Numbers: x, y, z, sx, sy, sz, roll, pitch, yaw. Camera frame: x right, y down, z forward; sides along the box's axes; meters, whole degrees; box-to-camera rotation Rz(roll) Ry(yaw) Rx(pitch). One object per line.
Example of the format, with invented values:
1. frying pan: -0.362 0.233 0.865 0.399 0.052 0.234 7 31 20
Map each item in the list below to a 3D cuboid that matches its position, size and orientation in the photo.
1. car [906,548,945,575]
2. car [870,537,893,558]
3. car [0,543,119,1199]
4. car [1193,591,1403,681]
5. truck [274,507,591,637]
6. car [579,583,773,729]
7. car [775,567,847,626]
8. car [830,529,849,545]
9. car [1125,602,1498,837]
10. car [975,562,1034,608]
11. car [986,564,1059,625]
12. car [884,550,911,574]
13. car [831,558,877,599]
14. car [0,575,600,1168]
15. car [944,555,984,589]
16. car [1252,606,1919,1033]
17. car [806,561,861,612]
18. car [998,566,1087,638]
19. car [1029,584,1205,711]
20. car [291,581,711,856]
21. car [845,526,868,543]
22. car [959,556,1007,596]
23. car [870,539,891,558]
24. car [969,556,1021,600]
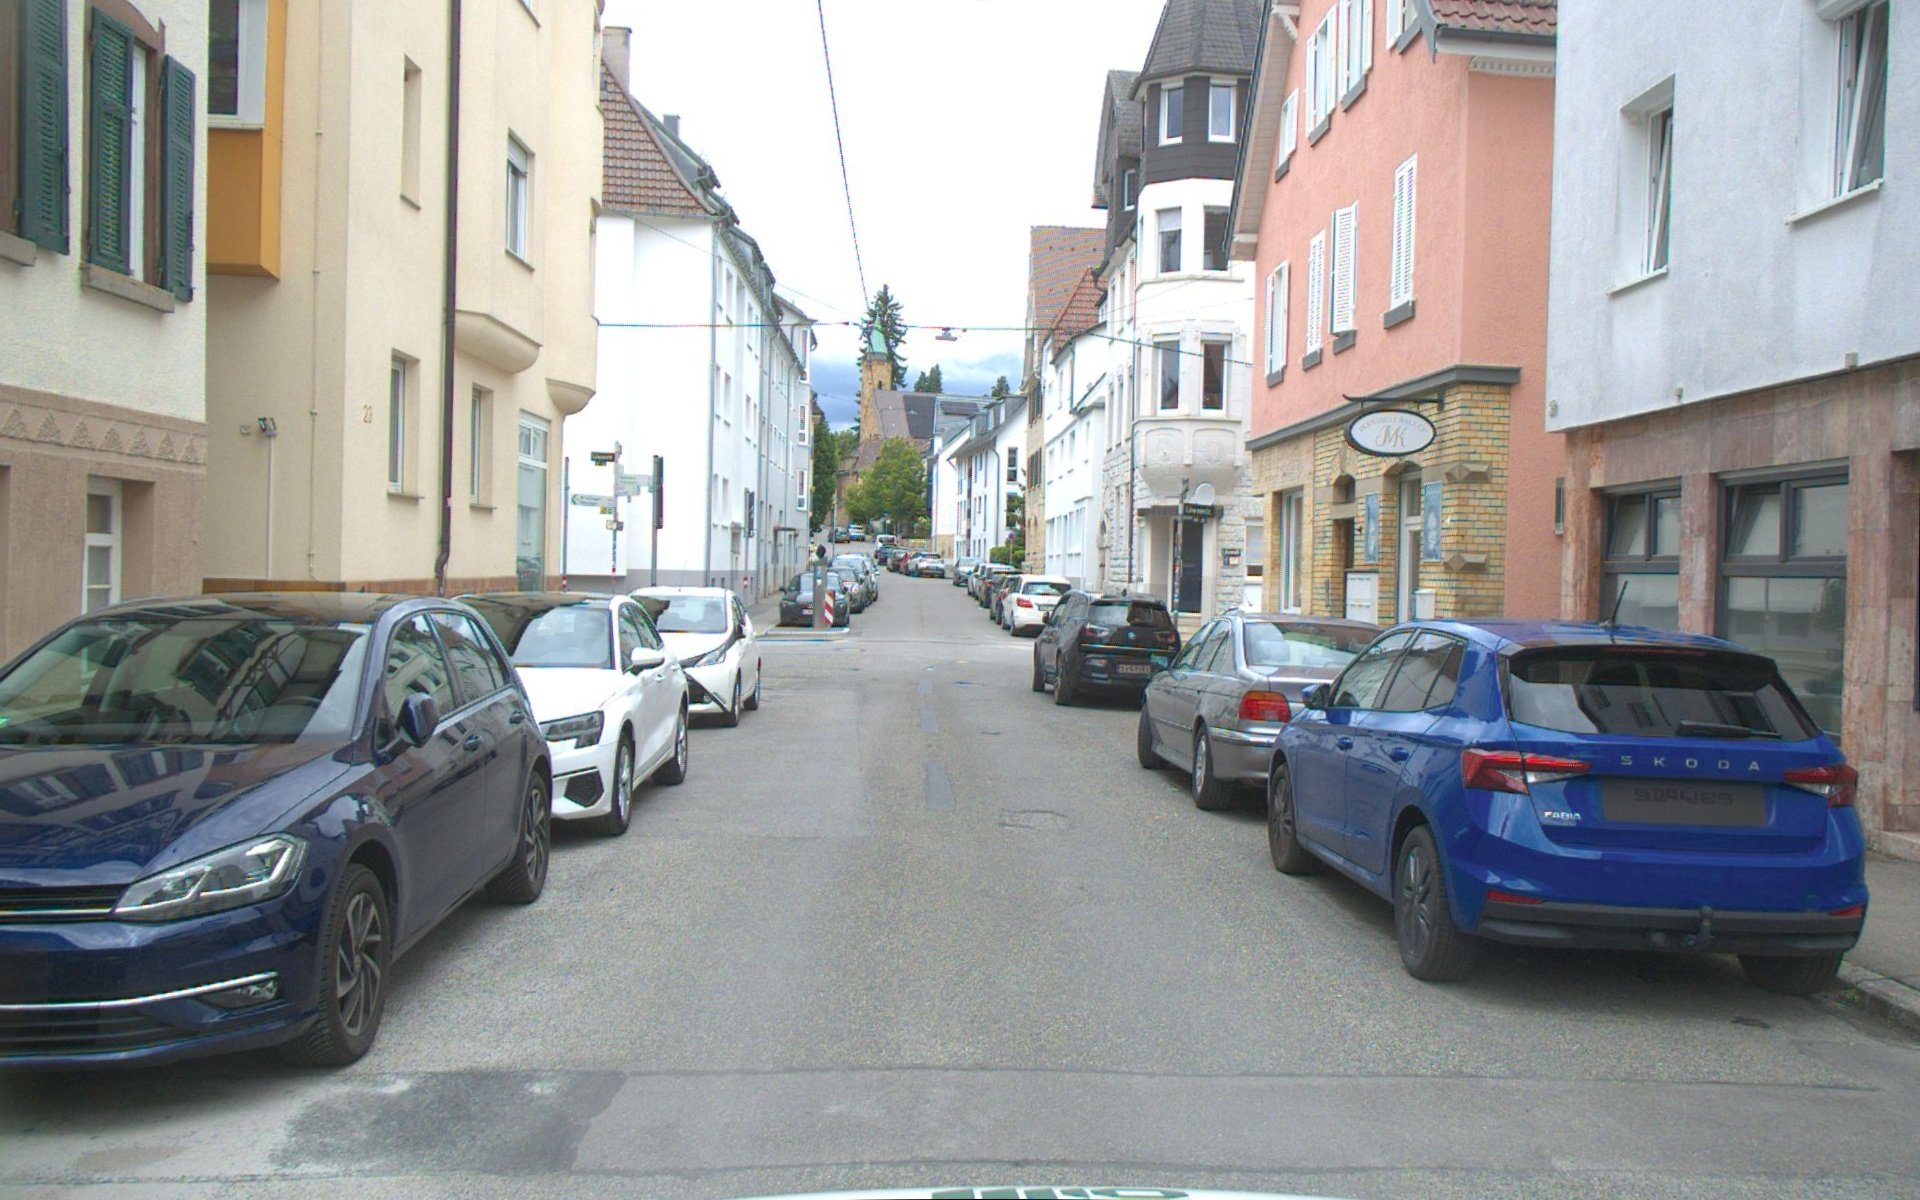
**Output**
1. car: -2.157 -2.397 101.613 1.752 1.504 3.617 1 3 -12
2. car: -6.174 -4.096 129.502 1.635 1.504 3.624 2 3 -5
3. car: -2.499 0.682 1.195 1.716 1.536 4.084 -1 0 -1
4. car: 6.485 0.680 31.892 3.548 1.505 1.670 3 1 -9
5. truck: -11.183 -0.564 35.590 6.152 2.596 2.313 1 0 -10
6. car: -3.135 0.587 18.935 1.633 1.459 3.815 -1 0 -2
7. car: -3.924 -0.128 44.081 1.784 1.415 4.296 0 2 -4
8. car: -12.593 -6.605 173.056 1.637 1.504 3.619 1 3 -10
9. car: 2.562 0.805 13.250 1.751 1.441 4.575 4 0 -3
10. car: 1.548 -0.559 59.225 1.635 1.408 4.025 3 3 -5
11. car: 1.798 -0.196 48.949 1.635 1.559 4.025 3 3 -5
12. car: -4.278 -2.616 112.597 1.635 1.504 3.624 2 3 -5
13. car: -4.054 -0.840 63.465 1.696 1.473 3.717 0 2 -4
14. car: -2.709 0.706 6.358 1.716 1.481 4.369 -1 0 -1
15. car: 0.187 -1.449 83.252 1.635 1.504 3.624 3 3 -5
16. car: 2.679 0.804 7.887 1.716 1.457 3.927 3 0 -2
17. car: -4.051 -0.458 53.270 1.696 1.515 3.717 0 2 -4
18. car: 2.144 0.008 43.842 1.784 1.626 4.025 3 3 -5
19. car: 2.153 0.610 23.750 1.782 1.570 4.024 3 0 -5
20. car: -2.835 0.654 11.223 1.716 1.457 4.368 -1 0 -2
21. car: -11.298 -7.165 179.889 2.142 1.722 3.619 1 3 -10
22. car: 0.955 -1.029 70.142 1.635 1.504 3.624 3 3 -5
23. car: -6.806 -4.416 141.121 1.635 1.504 3.624 2 3 -5
24. car: 1.370 -0.894 65.621 1.635 1.504 3.624 3 3 -5
